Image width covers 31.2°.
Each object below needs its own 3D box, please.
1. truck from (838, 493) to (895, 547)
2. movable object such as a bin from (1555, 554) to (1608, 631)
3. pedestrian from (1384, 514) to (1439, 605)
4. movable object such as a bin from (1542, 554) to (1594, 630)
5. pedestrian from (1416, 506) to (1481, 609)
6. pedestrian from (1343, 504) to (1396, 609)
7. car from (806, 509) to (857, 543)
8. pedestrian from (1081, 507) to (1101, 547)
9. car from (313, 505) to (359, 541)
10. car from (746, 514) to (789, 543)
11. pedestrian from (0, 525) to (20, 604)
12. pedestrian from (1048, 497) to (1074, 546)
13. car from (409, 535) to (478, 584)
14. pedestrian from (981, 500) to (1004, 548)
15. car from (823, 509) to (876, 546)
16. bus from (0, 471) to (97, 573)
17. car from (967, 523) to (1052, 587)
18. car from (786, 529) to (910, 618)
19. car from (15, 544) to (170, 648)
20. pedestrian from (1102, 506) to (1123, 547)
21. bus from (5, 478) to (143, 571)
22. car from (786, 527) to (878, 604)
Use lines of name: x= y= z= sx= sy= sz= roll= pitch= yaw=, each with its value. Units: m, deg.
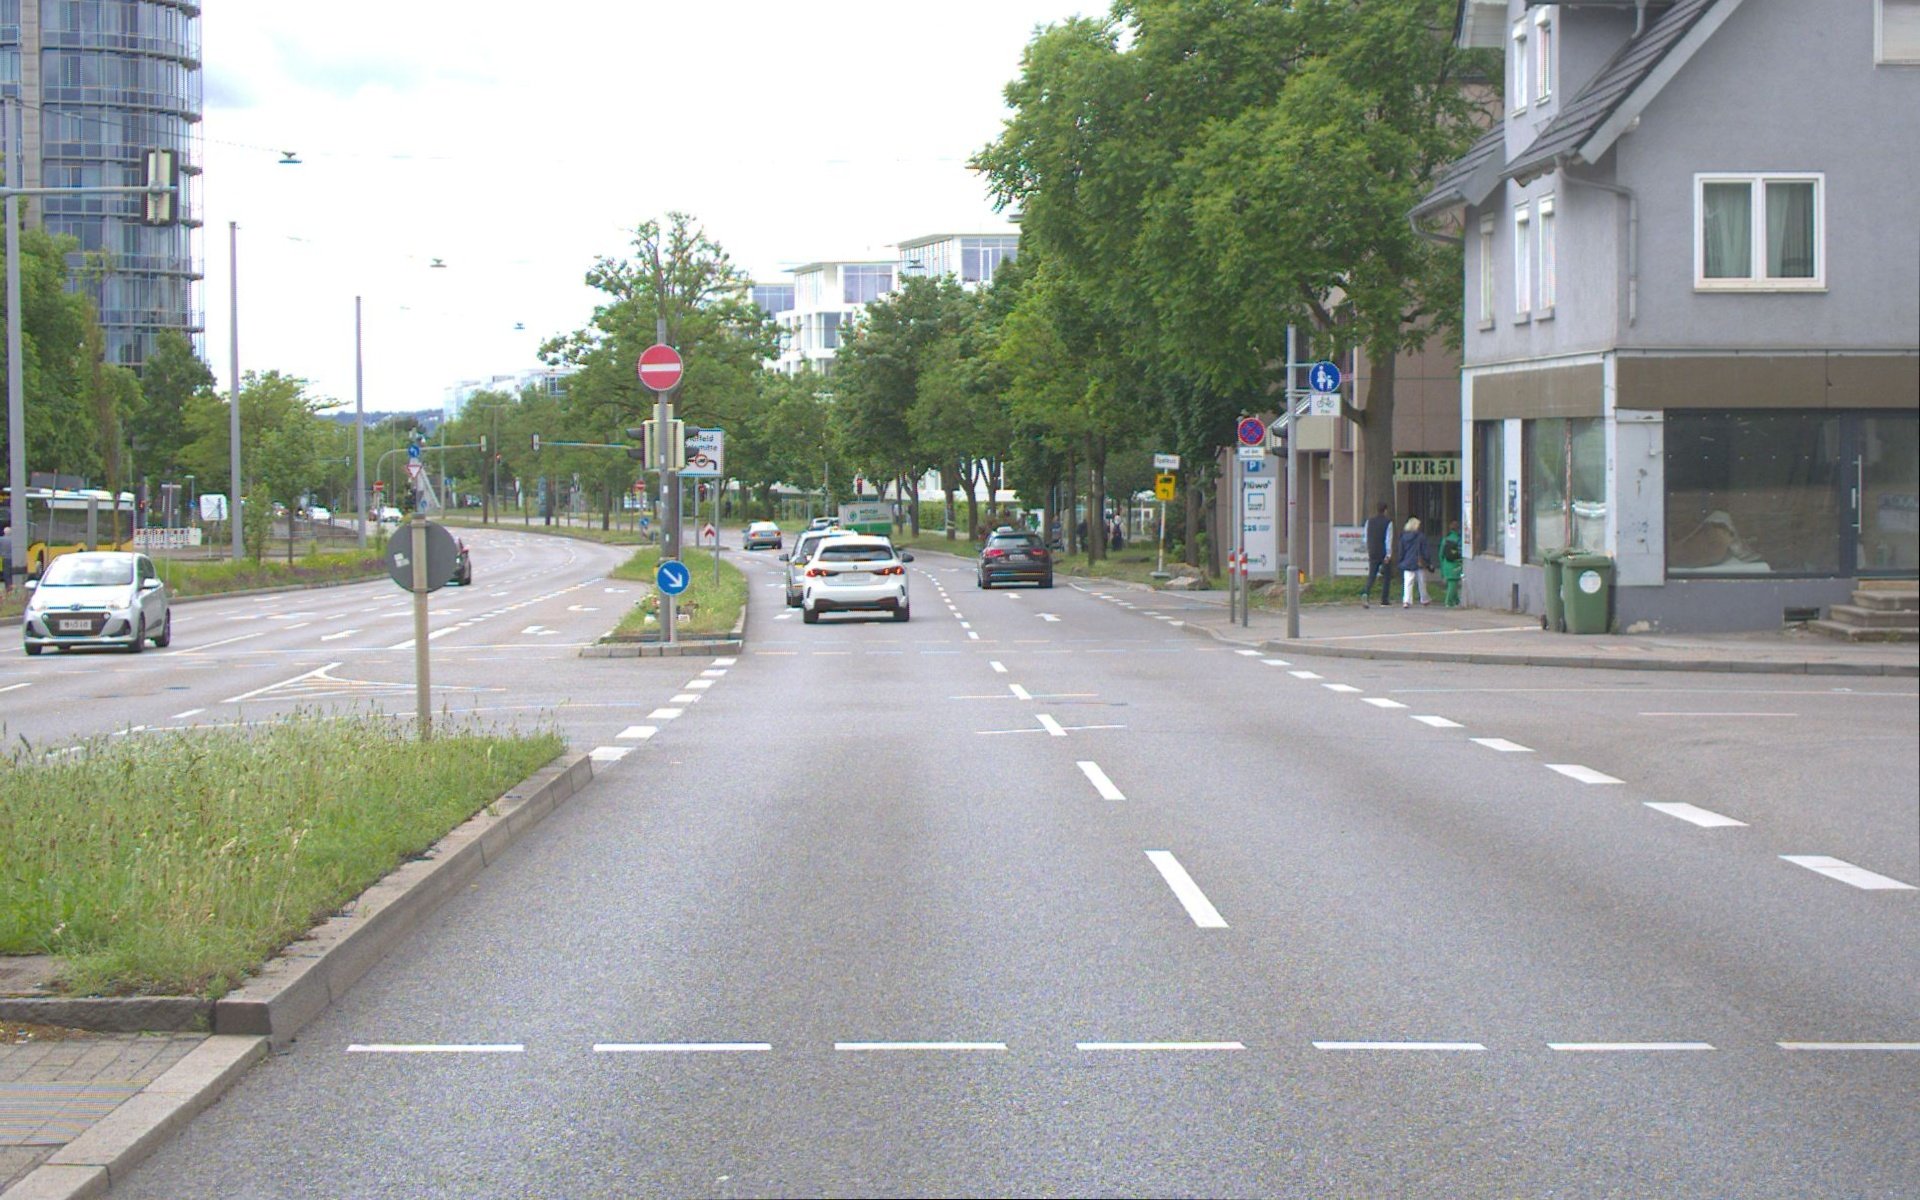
truck: x=-4.272 y=-3.637 z=156.469 sx=2.251 sy=2.408 sz=4.934 roll=0 pitch=1 yaw=-5
movable object such as a bin: x=7.959 y=-0.101 z=44.051 sx=0.529 sy=0.976 sz=0.736 roll=-1 pitch=1 yaw=-1
pedestrian: x=7.593 y=-0.684 z=57.856 sx=0.706 sy=1.502 sz=0.869 roll=0 pitch=1 yaw=22
movable object such as a bin: x=7.931 y=-0.114 z=44.841 sx=0.529 sy=0.976 sz=0.736 roll=-1 pitch=1 yaw=-1
pedestrian: x=8.554 y=-0.746 z=60.247 sx=0.867 sy=1.773 sz=0.707 roll=-1 pitch=1 yaw=-26
pedestrian: x=6.978 y=-0.743 z=58.578 sx=0.706 sy=1.773 sz=0.869 roll=0 pitch=1 yaw=20
car: x=-6.514 y=-3.733 z=173.860 sx=2.250 sy=1.641 sz=4.934 roll=-1 pitch=1 yaw=-5
pedestrian: x=5.033 y=-2.806 z=132.230 sx=0.650 sy=1.564 sz=0.671 roll=-1 pitch=1 yaw=-8
car: x=-36.344 y=-4.454 z=200.261 sx=1.965 sy=2.007 sz=4.000 roll=1 pitch=1 yaw=-1
car: x=-9.700 y=-3.587 z=173.153 sx=1.967 sy=1.415 sz=4.023 roll=-1 pitch=1 yaw=-5
pedestrian: x=-22.887 y=-0.848 z=82.398 sx=0.661 sy=1.891 sz=0.686 roll=-1 pitch=1 yaw=-14
pedestrian: x=4.166 y=-3.242 z=141.962 sx=0.971 sy=2.007 sz=0.981 roll=1 pitch=0 yaw=-1
car: x=-16.084 y=-1.270 z=107.141 sx=1.702 sy=1.487 sz=3.562 roll=-1 pitch=1 yaw=-2
pedestrian: x=1.594 y=-3.744 z=169.620 sx=0.930 sy=2.300 sz=1.011 roll=1 pitch=0 yaw=-10
car: x=-5.318 y=-3.469 z=165.067 sx=2.251 sy=1.751 sz=4.934 roll=-1 pitch=1 yaw=-5
bus: x=-31.401 y=-2.564 z=114.464 sx=3.144 sy=3.214 sz=10.286 roll=-1 pitch=1 yaw=-3
car: x=1.207 y=-1.097 z=85.385 sx=1.889 sy=1.489 sz=4.099 roll=-2 pitch=0 yaw=-2
car: x=-1.889 y=-0.478 z=59.319 sx=1.993 sy=1.472 sz=4.256 roll=-1 pitch=1 yaw=0
car: x=-12.806 y=-0.089 z=50.925 sx=1.684 sy=1.457 sz=3.556 roll=-1 pitch=1 yaw=-5
pedestrian: x=5.855 y=-2.816 z=132.138 sx=0.650 sy=1.564 sz=0.671 roll=-1 pitch=1 yaw=-8
bus: x=-31.741 y=-2.704 z=123.468 sx=3.144 sy=3.214 sz=7.766 roll=-1 pitch=1 yaw=-2
car: x=-2.701 y=-0.738 z=72.047 sx=1.822 sy=1.535 sz=4.115 roll=-1 pitch=1 yaw=-3
